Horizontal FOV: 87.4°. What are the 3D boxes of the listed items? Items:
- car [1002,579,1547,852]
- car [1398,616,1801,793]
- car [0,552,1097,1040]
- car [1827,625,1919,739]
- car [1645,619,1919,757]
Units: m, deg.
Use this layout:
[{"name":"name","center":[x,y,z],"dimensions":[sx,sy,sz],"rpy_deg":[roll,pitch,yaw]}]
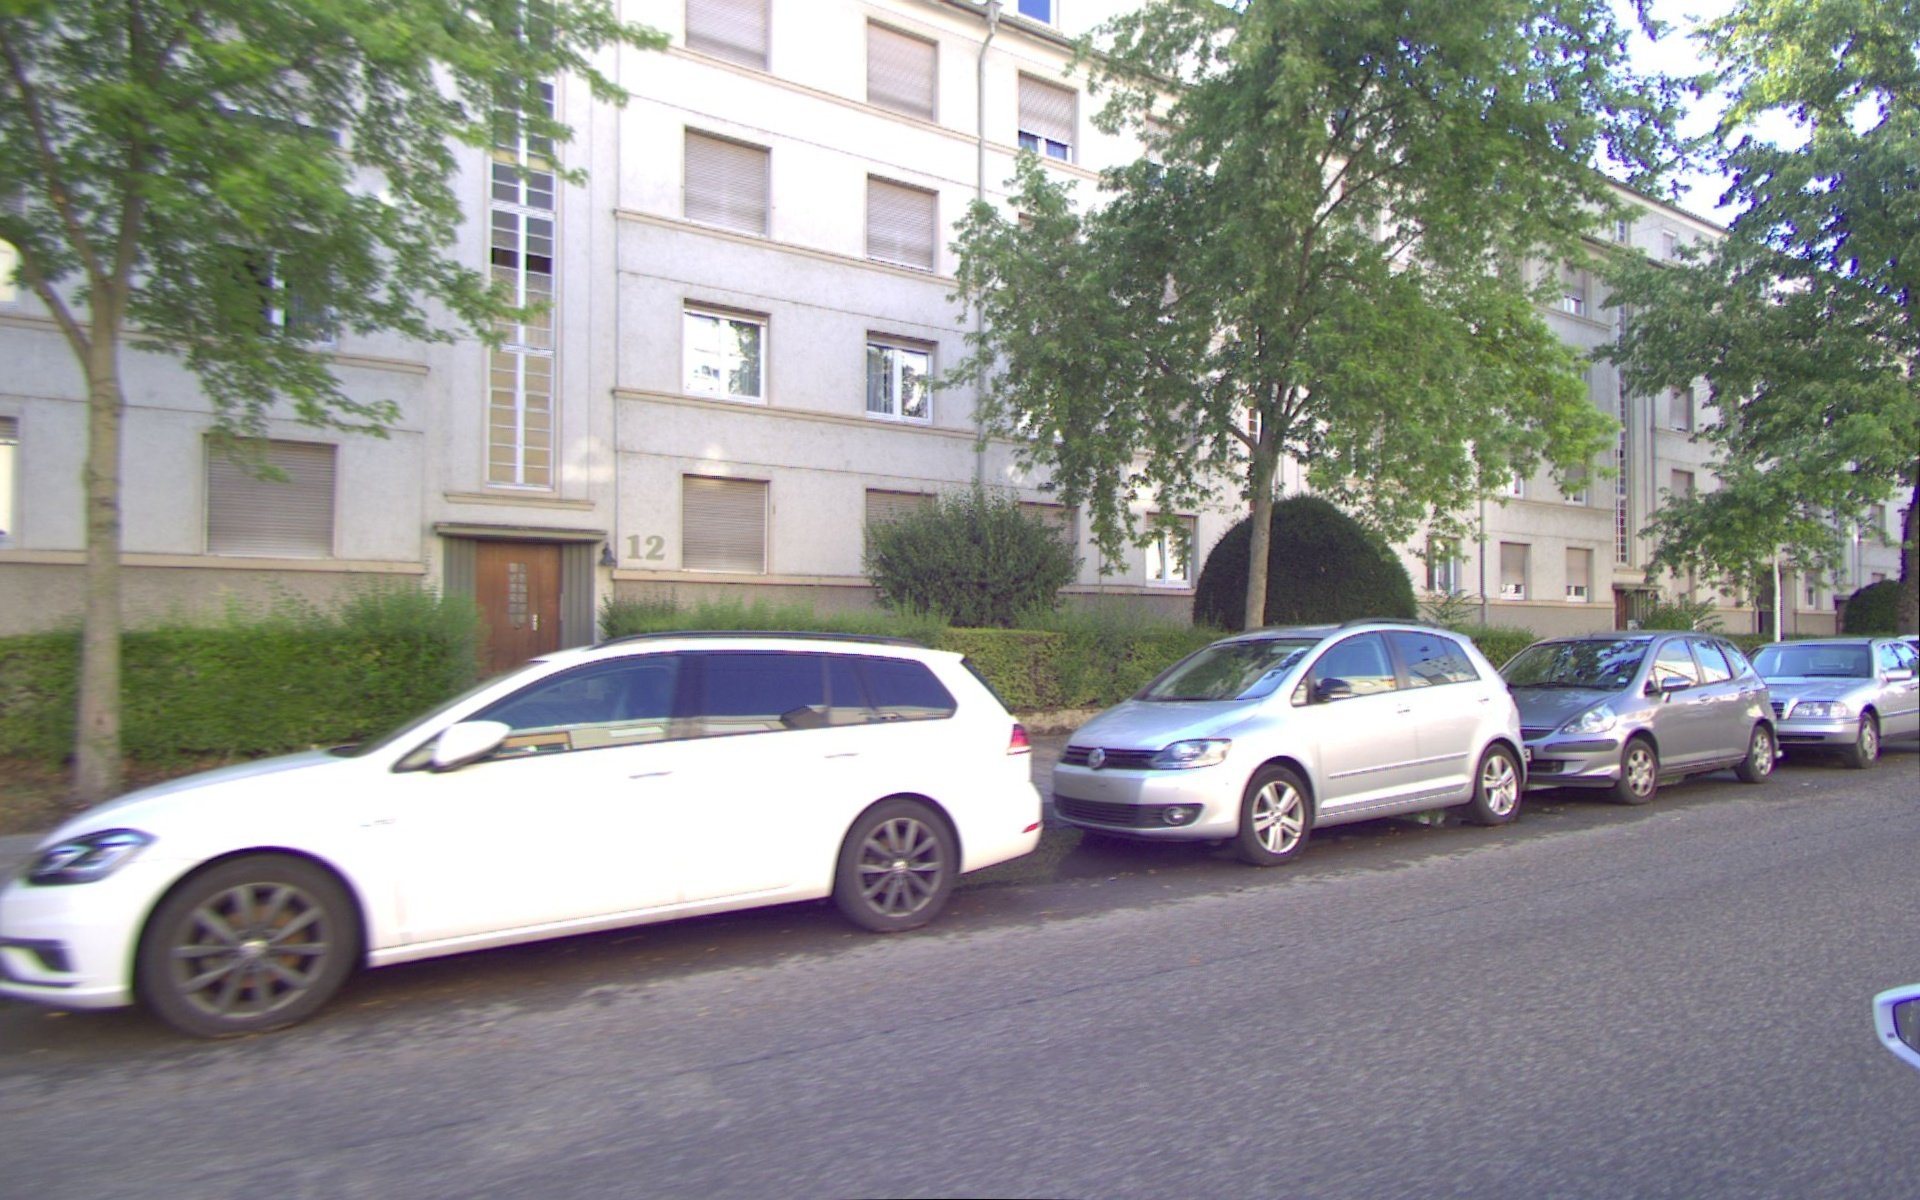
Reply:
[{"name":"car","center":[2.470,0.772,7.669],"dimensions":[3.956,1.572,1.864],"rpy_deg":[2,-3,-32]},{"name":"car","center":[6.449,0.936,10.050],"dimensions":[3.956,1.373,1.863],"rpy_deg":[2,0,-32]},{"name":"car","center":[-1.690,0.790,5.154],"dimensions":[4.415,1.571,1.998],"rpy_deg":[2,-6,-28]},{"name":"car","center":[14.859,1.229,15.181],"dimensions":[3.223,1.595,1.699],"rpy_deg":[2,-1,-30]},{"name":"car","center":[10.714,1.019,12.543],"dimensions":[4.602,1.373,1.863],"rpy_deg":[2,0,-32]}]
